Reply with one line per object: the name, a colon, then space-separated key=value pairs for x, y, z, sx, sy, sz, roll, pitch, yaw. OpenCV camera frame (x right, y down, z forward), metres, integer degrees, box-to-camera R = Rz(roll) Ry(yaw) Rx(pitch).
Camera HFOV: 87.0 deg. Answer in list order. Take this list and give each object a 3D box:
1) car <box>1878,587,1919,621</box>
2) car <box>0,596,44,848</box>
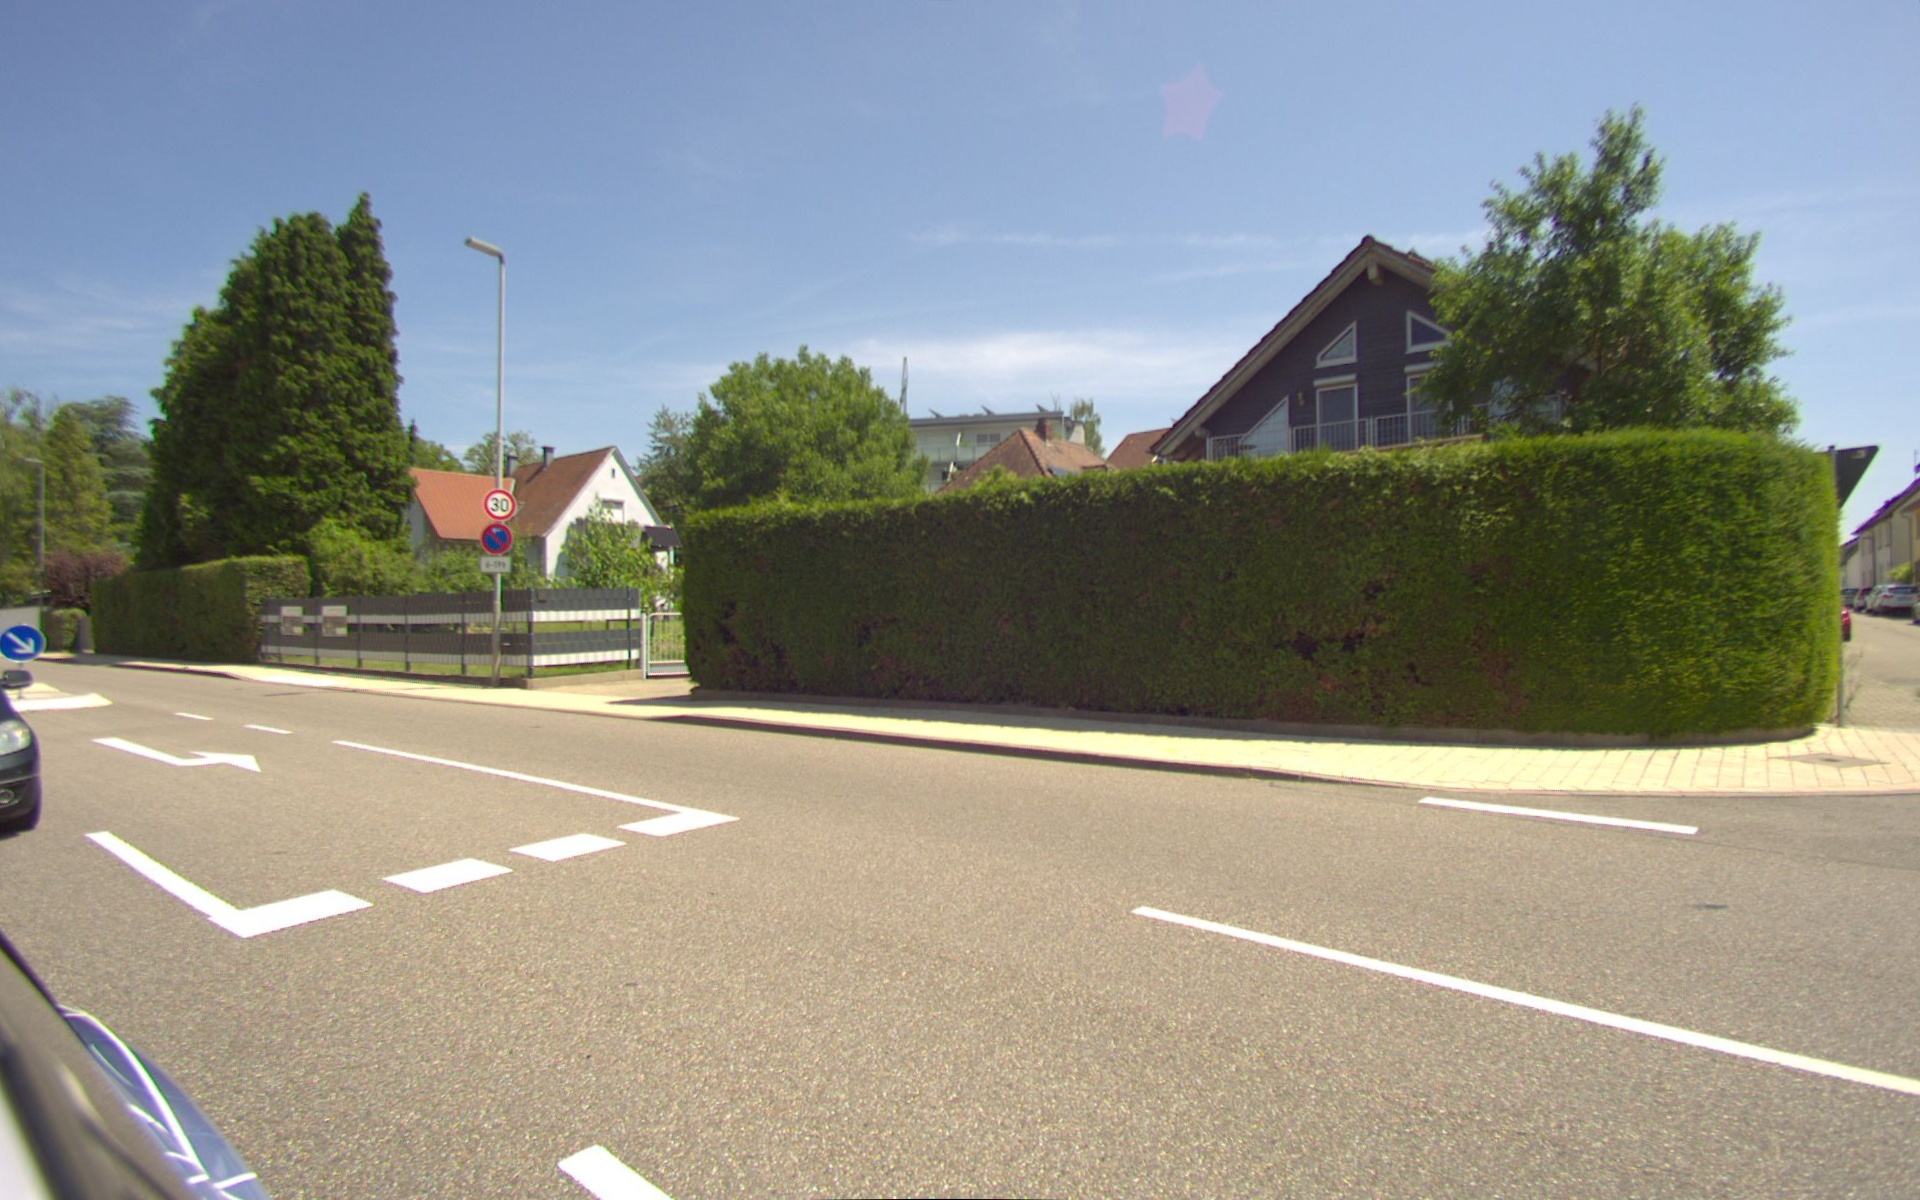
car: x=48.945 y=0.213 z=52.438 sx=1.704 sy=1.733 sz=3.626 roll=0 pitch=0 yaw=37
car: x=-8.150 y=0.816 z=7.185 sx=4.152 sy=1.601 sz=1.845 roll=-2 pitch=-1 yaw=39
